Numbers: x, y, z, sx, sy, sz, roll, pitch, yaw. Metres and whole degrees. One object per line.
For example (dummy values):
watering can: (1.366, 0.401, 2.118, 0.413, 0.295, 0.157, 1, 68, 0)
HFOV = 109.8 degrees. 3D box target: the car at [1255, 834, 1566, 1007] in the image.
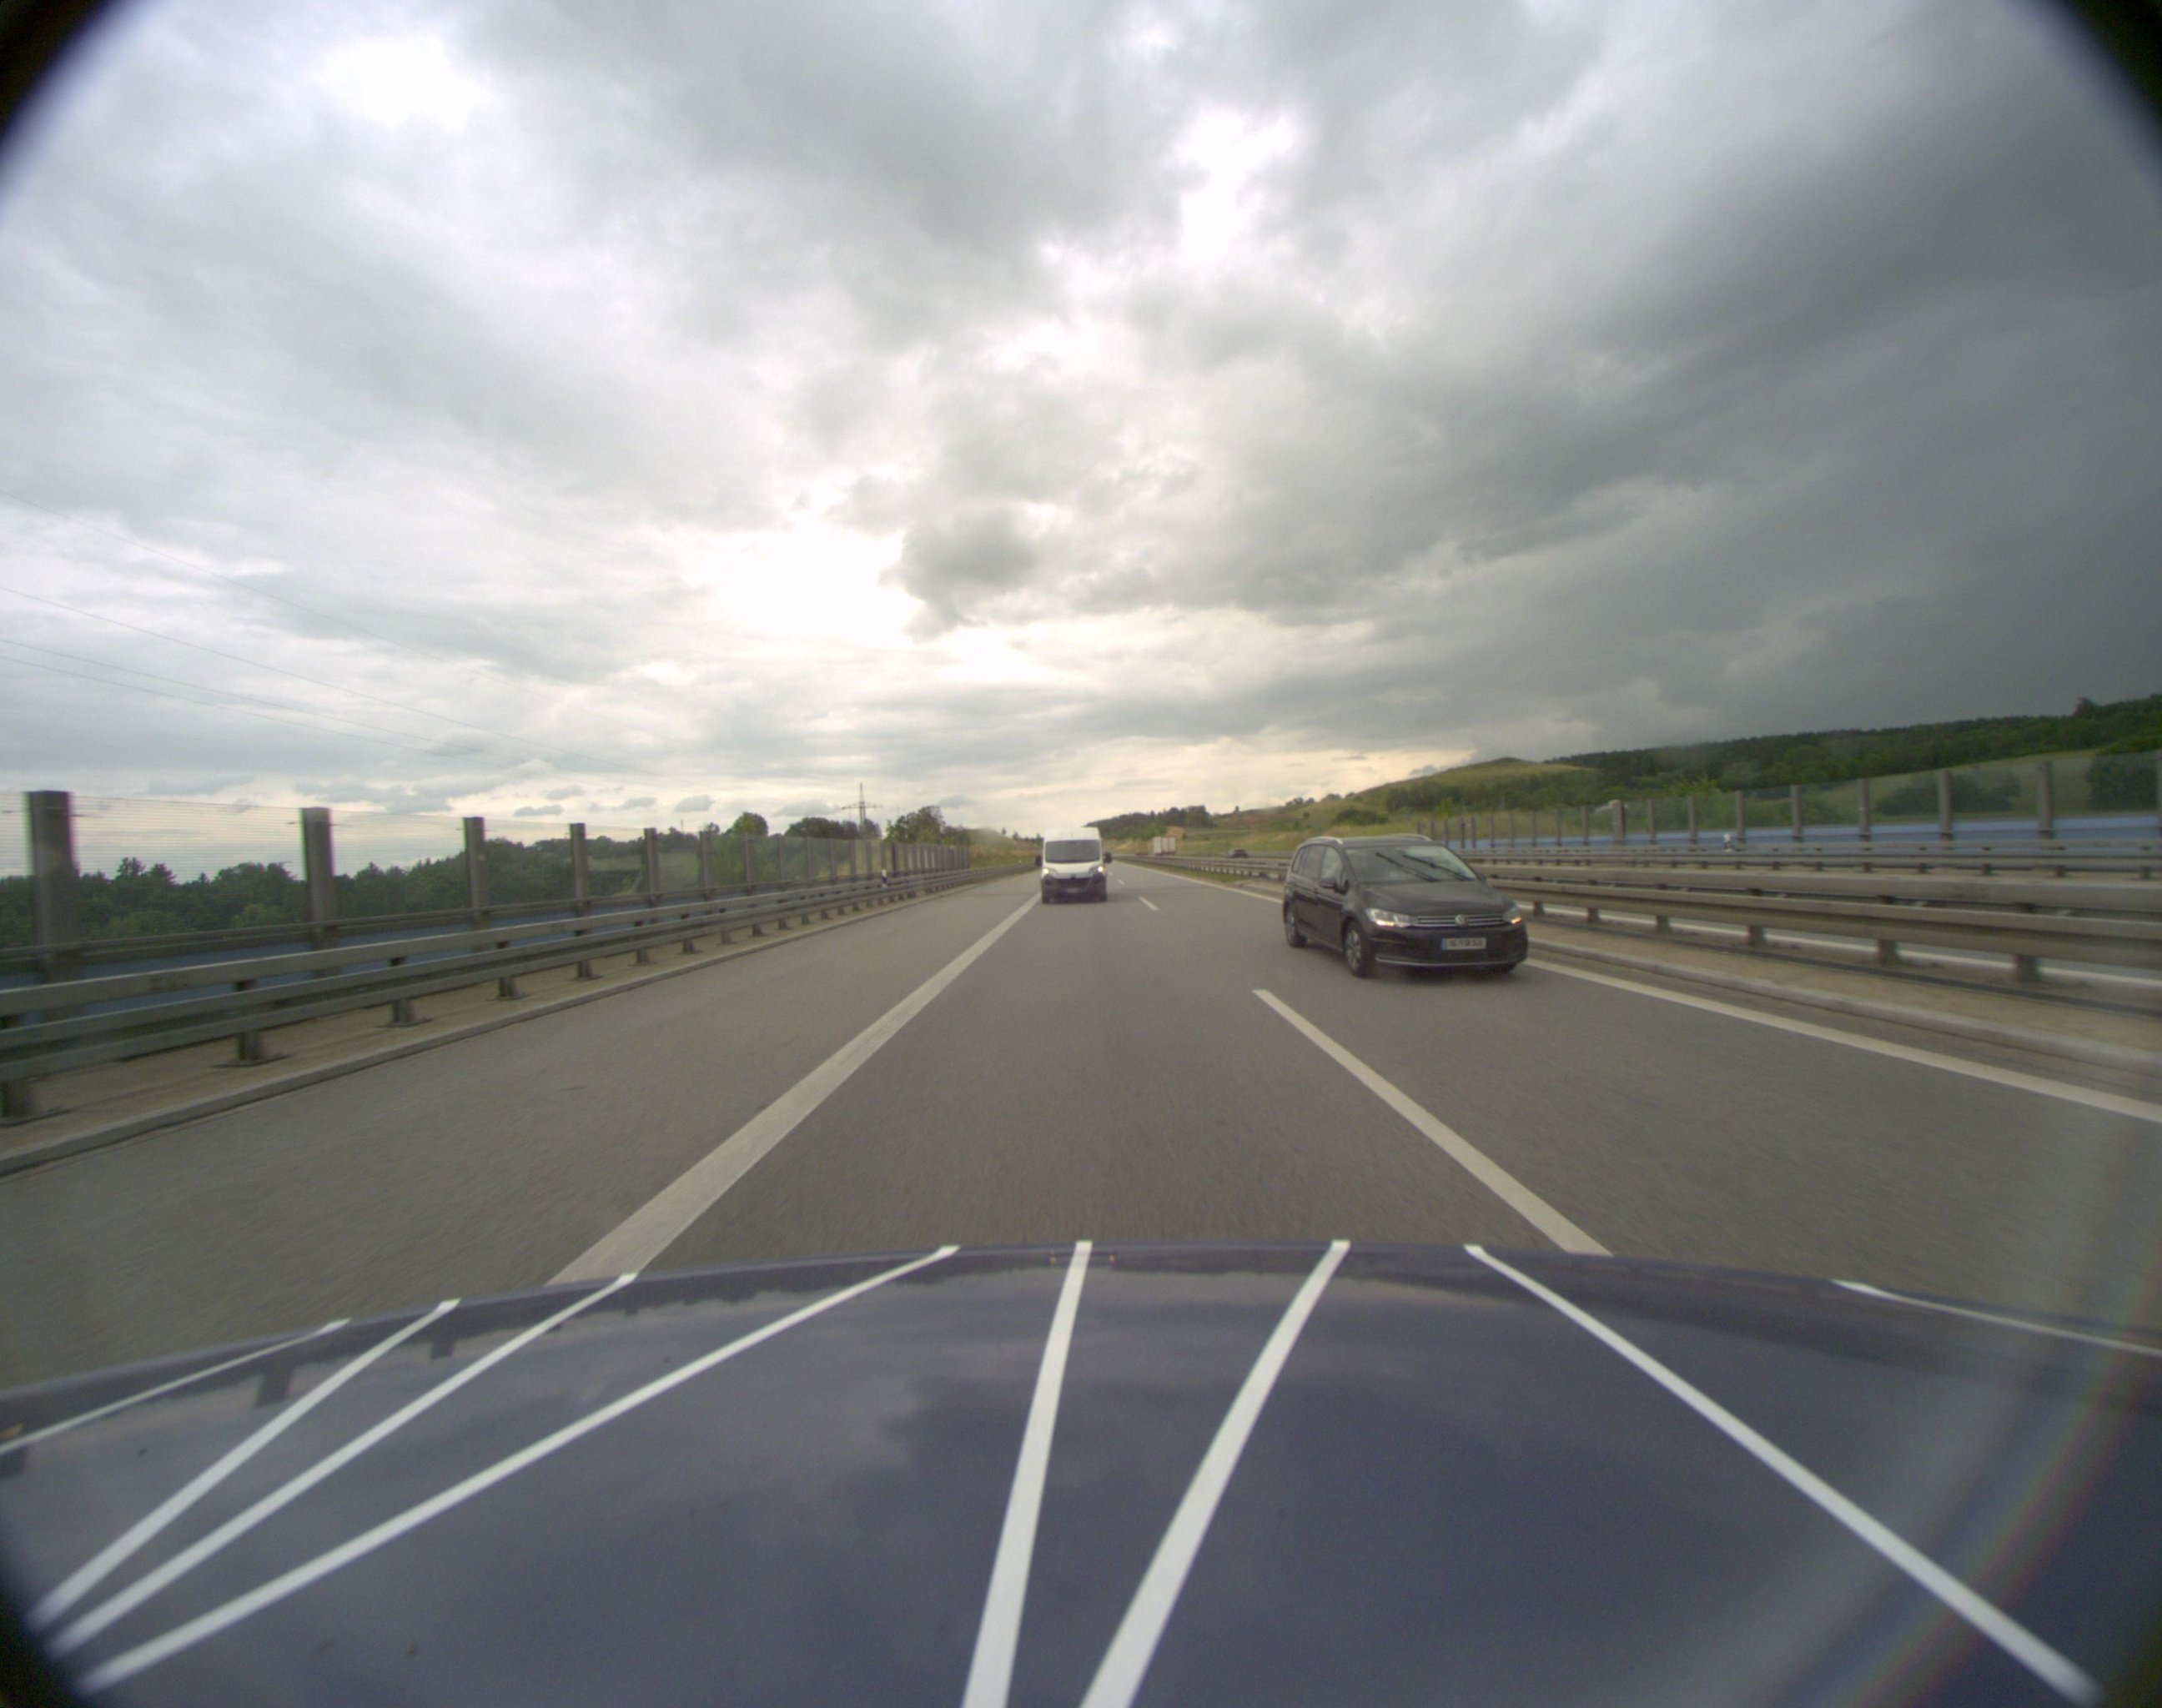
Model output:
car: (3.930, 0.650, 10.323, 1.901, 1.661, 5.396, -3, 0, 1)

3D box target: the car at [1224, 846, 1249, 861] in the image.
car: (15.364, -0.052, 75.260, 1.635, 1.401, 4.000, -3, 0, 1)

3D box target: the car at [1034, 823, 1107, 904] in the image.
car: (-0.232, 0.303, 26.276, 2.132, 2.411, 6.112, -2, 0, 2)

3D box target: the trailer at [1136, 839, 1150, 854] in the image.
trailer: (16.965, -2.063, 208.614, 2.596, 3.902, 13.701, -3, 0, 1)

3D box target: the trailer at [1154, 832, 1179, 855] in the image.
trailer: (15.626, -1.848, 139.450, 2.925, 3.902, 14.274, -3, 0, 1)
